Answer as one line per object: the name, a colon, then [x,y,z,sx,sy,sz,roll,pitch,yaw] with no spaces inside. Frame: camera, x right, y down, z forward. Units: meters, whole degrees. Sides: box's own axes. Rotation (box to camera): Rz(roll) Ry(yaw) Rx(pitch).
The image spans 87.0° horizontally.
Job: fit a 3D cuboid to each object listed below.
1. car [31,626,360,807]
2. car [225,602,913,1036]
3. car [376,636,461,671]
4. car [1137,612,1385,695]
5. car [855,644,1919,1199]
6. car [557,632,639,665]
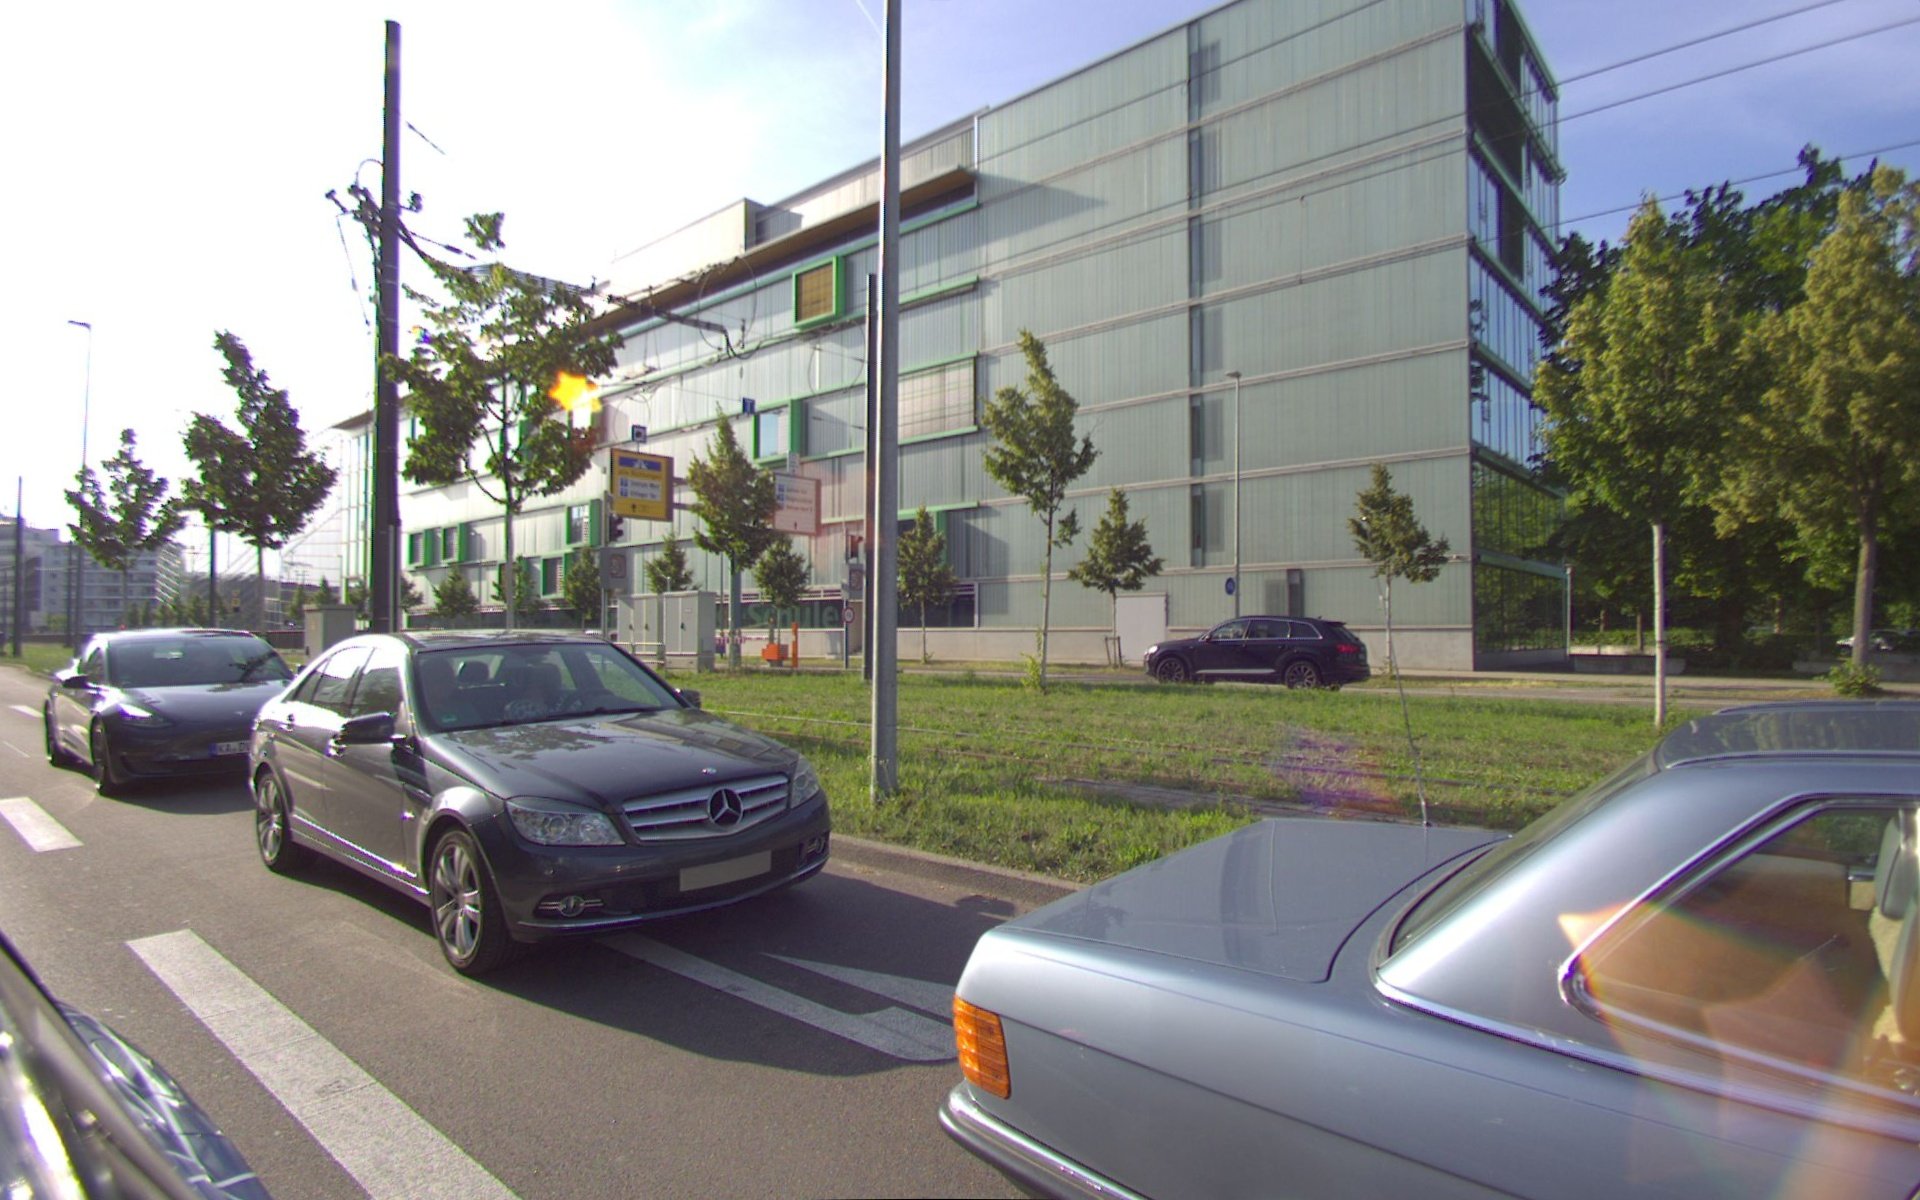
car: [-7.893,1.020,10.283,4.333,1.396,1.870,-2,-1,42]
car: [-2.452,0.834,5.649,4.351,1.490,1.768,-2,-1,41]
car: [-25.492,2.499,47.592,4.306,1.539,1.974,-2,-3,38]
car: [6.700,1.184,22.847,4.985,1.697,1.975,-2,-3,37]
car: [2.045,0.755,1.118,4.397,1.340,1.746,-2,-1,41]
car: [-18.114,2.409,50.562,4.437,1.539,1.886,-2,-3,40]
